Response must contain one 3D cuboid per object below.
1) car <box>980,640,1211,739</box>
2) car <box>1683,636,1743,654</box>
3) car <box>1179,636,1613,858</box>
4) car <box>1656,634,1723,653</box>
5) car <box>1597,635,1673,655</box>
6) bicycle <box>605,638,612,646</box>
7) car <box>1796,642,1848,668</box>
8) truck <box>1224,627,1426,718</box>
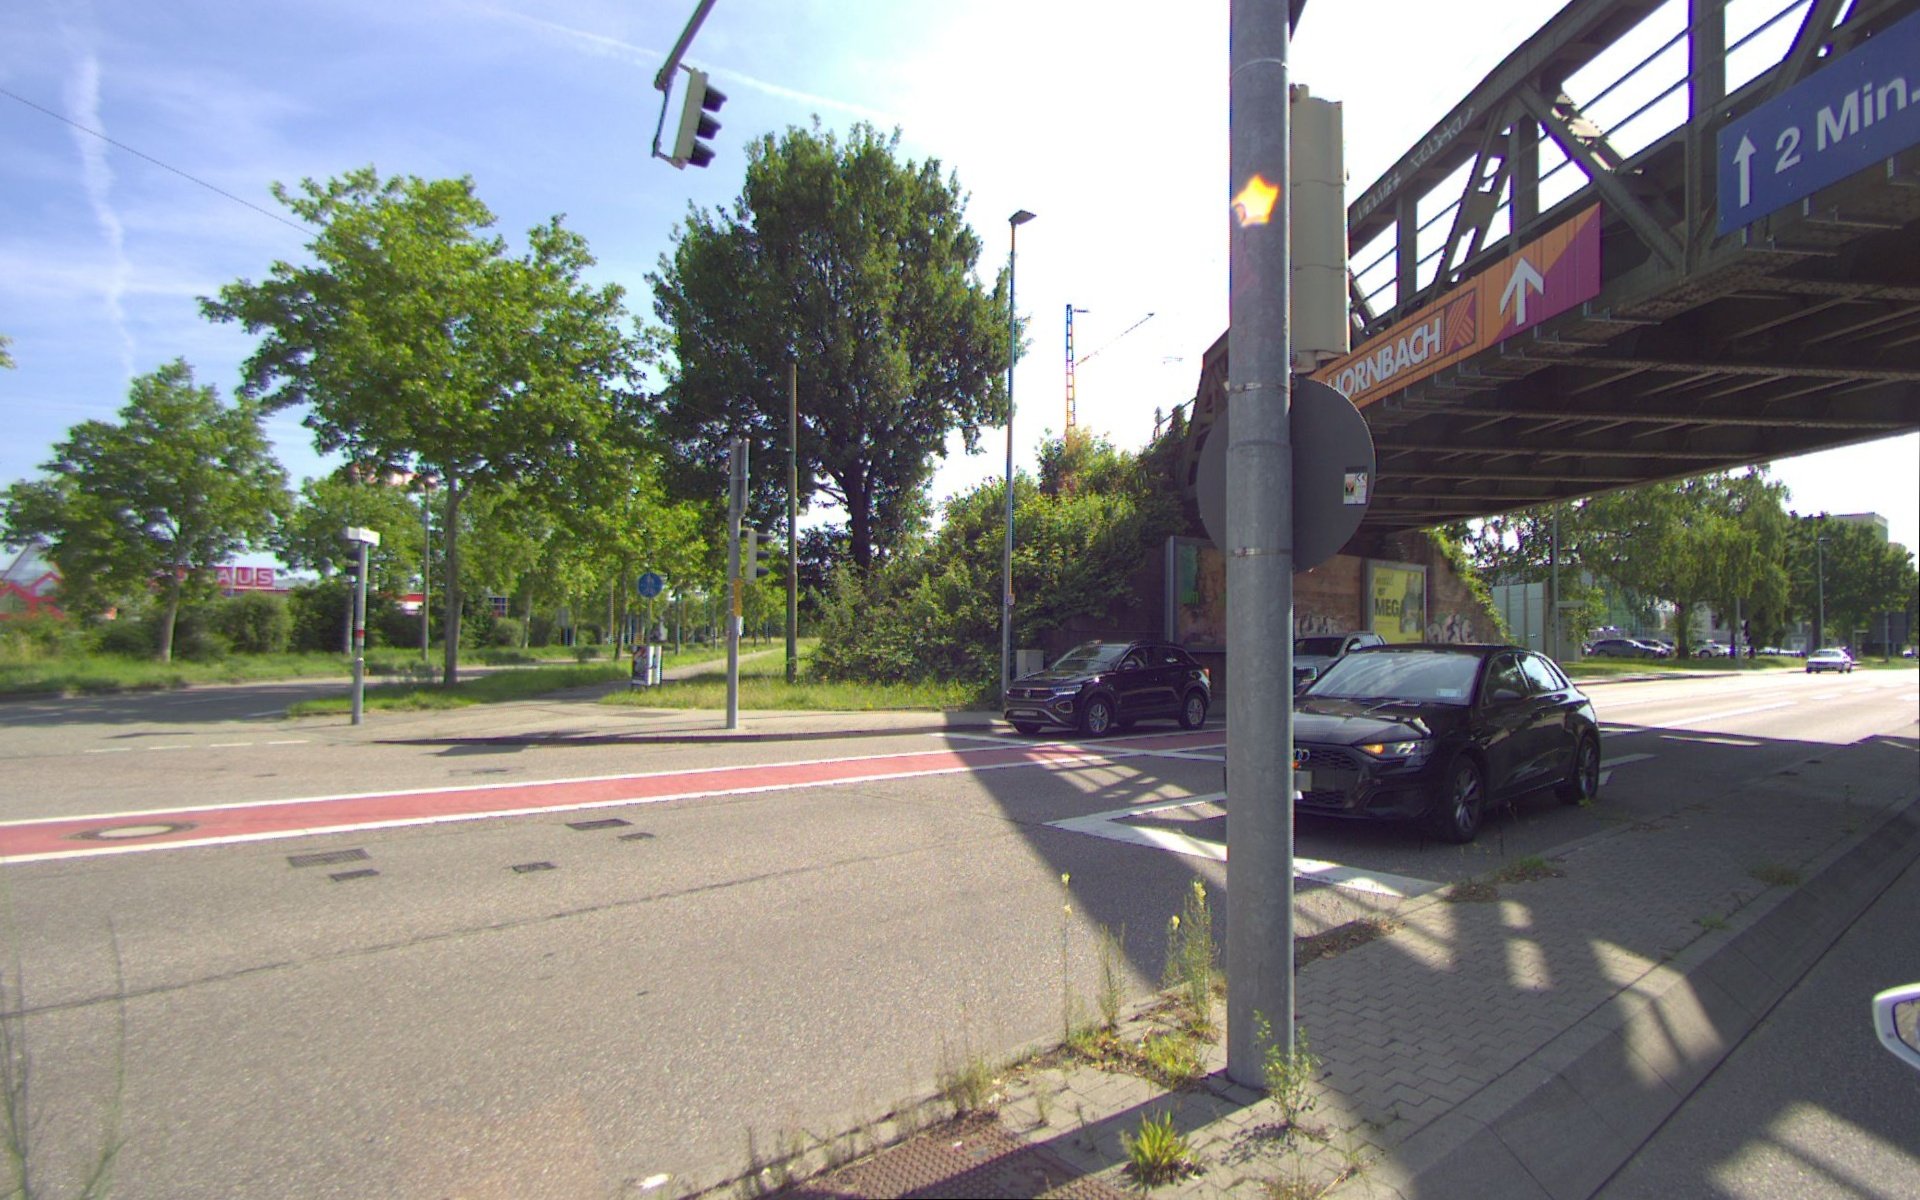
[{"bbox_3d":[2.403,1.473,17.291,3.913,1.500,1.802,2,-5,-41],"label":"car"},{"bbox_3d":[68.302,4.079,91.120,4.194,1.567,1.855,-2,-3,44],"label":"car"},{"bbox_3d":[3.857,1.026,8.507,4.302,1.413,1.750,2,-3,-42],"label":"car"},{"bbox_3d":[59.095,3.510,81.393,4.194,1.567,1.855,-2,-3,44],"label":"car"},{"bbox_3d":[47.731,3.169,71.057,4.194,1.362,1.988,-2,-3,44],"label":"car"},{"bbox_3d":[-57.893,6.950,165.413,0.674,1.253,1.933,0,-2,-6],"label":"bicycle"},{"bbox_3d":[51.513,3.242,60.008,4.054,1.512,1.950,2,-3,-44],"label":"car"},{"bbox_3d":[8.436,1.609,22.939,5.284,1.843,2.009,2,-5,-41],"label":"truck"}]
